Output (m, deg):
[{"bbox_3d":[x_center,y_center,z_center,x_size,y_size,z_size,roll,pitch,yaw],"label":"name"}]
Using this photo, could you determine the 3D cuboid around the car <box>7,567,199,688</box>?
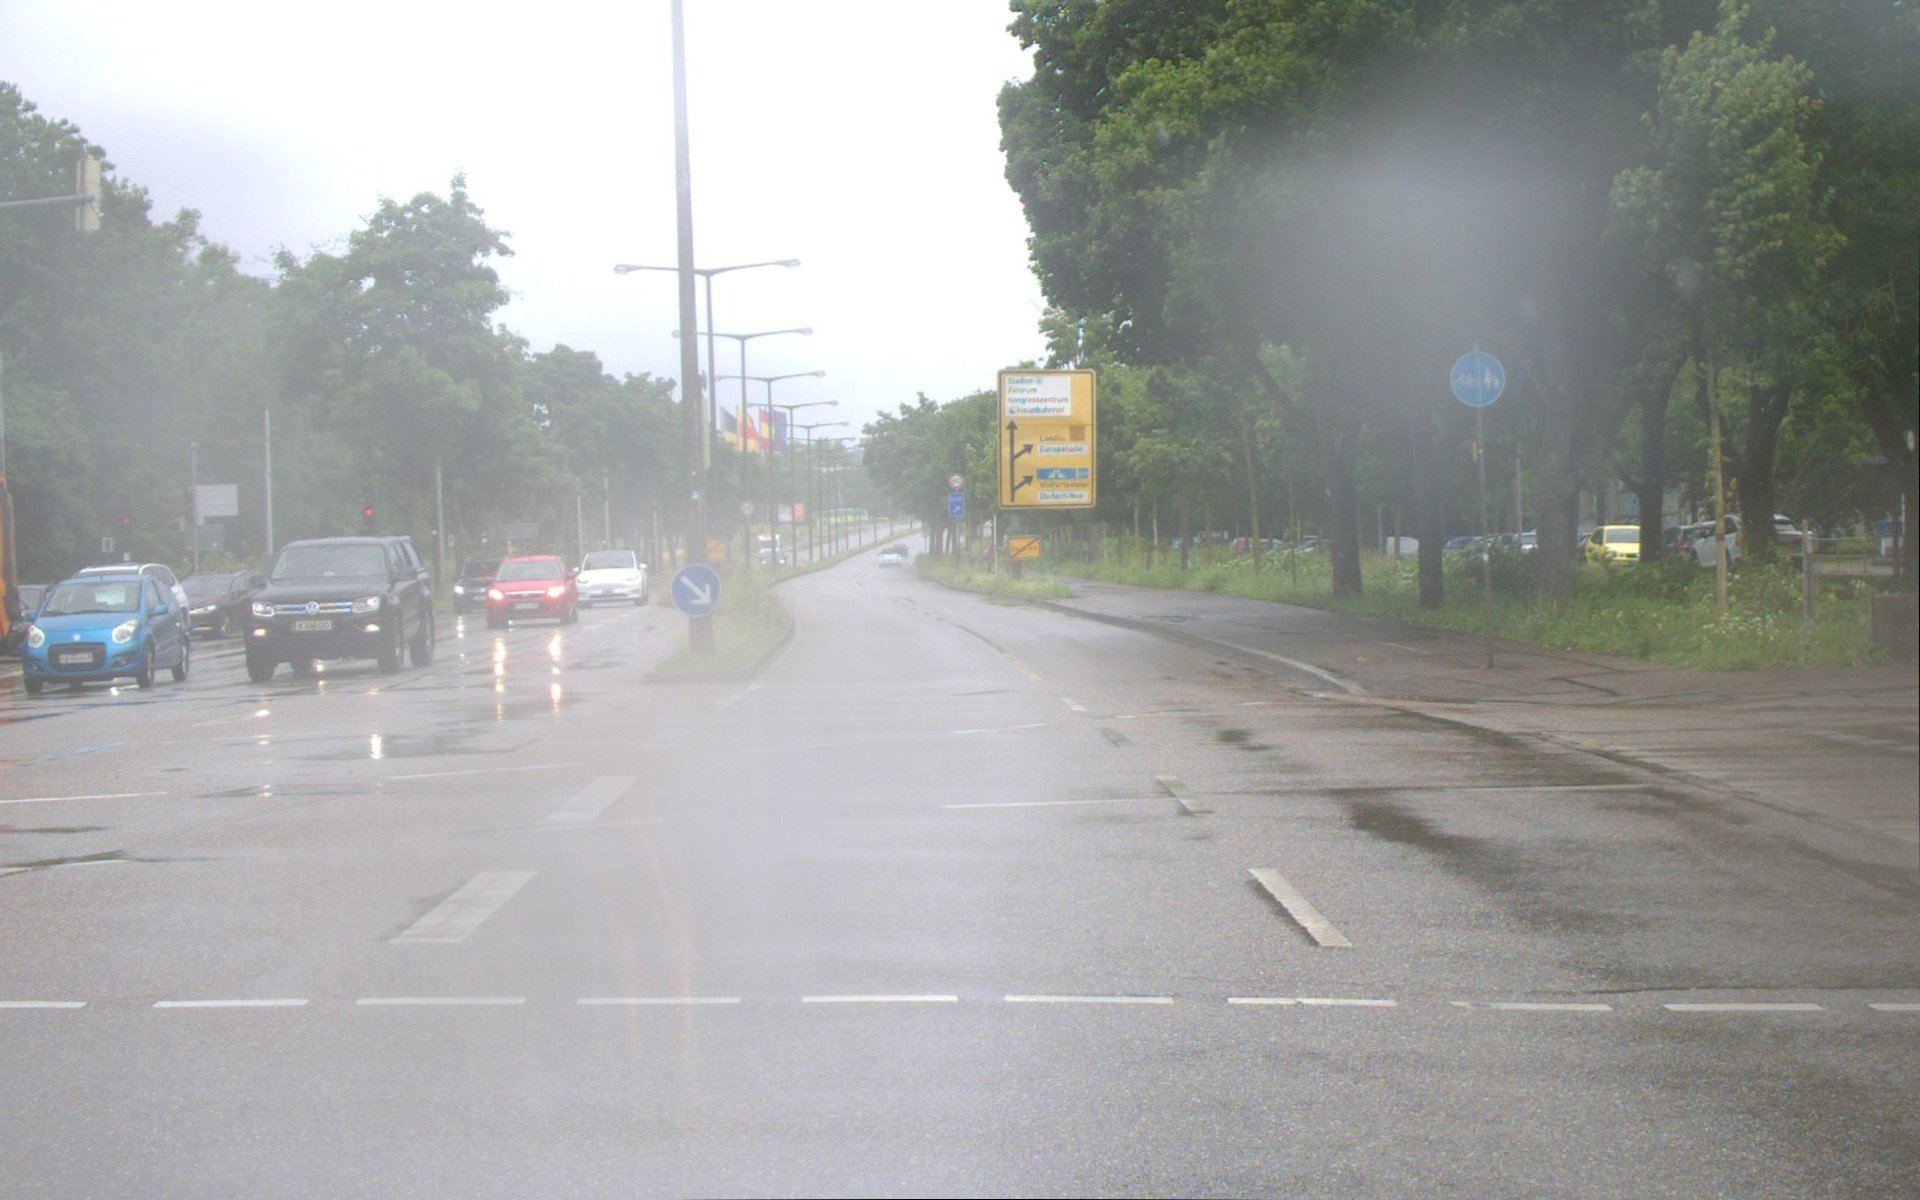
[{"bbox_3d":[-11.155,0.327,44.964,1.641,1.422,4.000,-3,1,-3],"label":"car"}]

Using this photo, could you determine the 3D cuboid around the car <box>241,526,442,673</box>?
[{"bbox_3d":[-8.179,-0.046,45.897,1.805,1.767,5.090,-3,1,-1],"label":"car"}]

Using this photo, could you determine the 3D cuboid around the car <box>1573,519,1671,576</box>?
[{"bbox_3d":[17.983,-1.413,93.536,1.637,1.481,4.073,0,0,-3],"label":"car"}]

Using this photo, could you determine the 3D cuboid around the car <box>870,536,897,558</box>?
[{"bbox_3d":[-5.598,-3.911,252.675,1.907,1.509,4.000,-1,1,0],"label":"car"}]

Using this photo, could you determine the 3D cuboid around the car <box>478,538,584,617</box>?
[{"bbox_3d":[-9.219,-0.469,74.174,1.801,1.564,4.429,-3,0,-2],"label":"car"}]

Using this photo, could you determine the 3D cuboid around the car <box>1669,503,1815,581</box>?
[{"bbox_3d":[18.184,-1.330,80.122,1.993,1.711,4.879,-2,1,-3],"label":"car"}]

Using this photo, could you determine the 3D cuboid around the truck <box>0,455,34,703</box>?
[{"bbox_3d":[-17.666,-0.340,54.516,3.384,4.153,10.407,0,0,-1],"label":"truck"}]

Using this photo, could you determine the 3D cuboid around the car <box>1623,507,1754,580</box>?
[{"bbox_3d":[18.117,-1.384,85.685,1.993,1.711,4.642,-2,1,-3],"label":"car"}]

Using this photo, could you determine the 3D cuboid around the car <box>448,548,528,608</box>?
[{"bbox_3d":[-13.883,-0.656,101.298,1.707,1.636,4.331,-3,1,-1],"label":"car"}]

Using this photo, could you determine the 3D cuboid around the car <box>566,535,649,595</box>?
[{"bbox_3d":[-10.079,-1.013,98.678,1.961,1.611,4.697,-2,1,-1],"label":"car"}]

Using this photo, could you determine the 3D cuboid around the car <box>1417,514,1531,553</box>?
[{"bbox_3d":[22.517,-2.902,150.647,4.569,1.639,2.000,0,0,-6],"label":"car"}]
